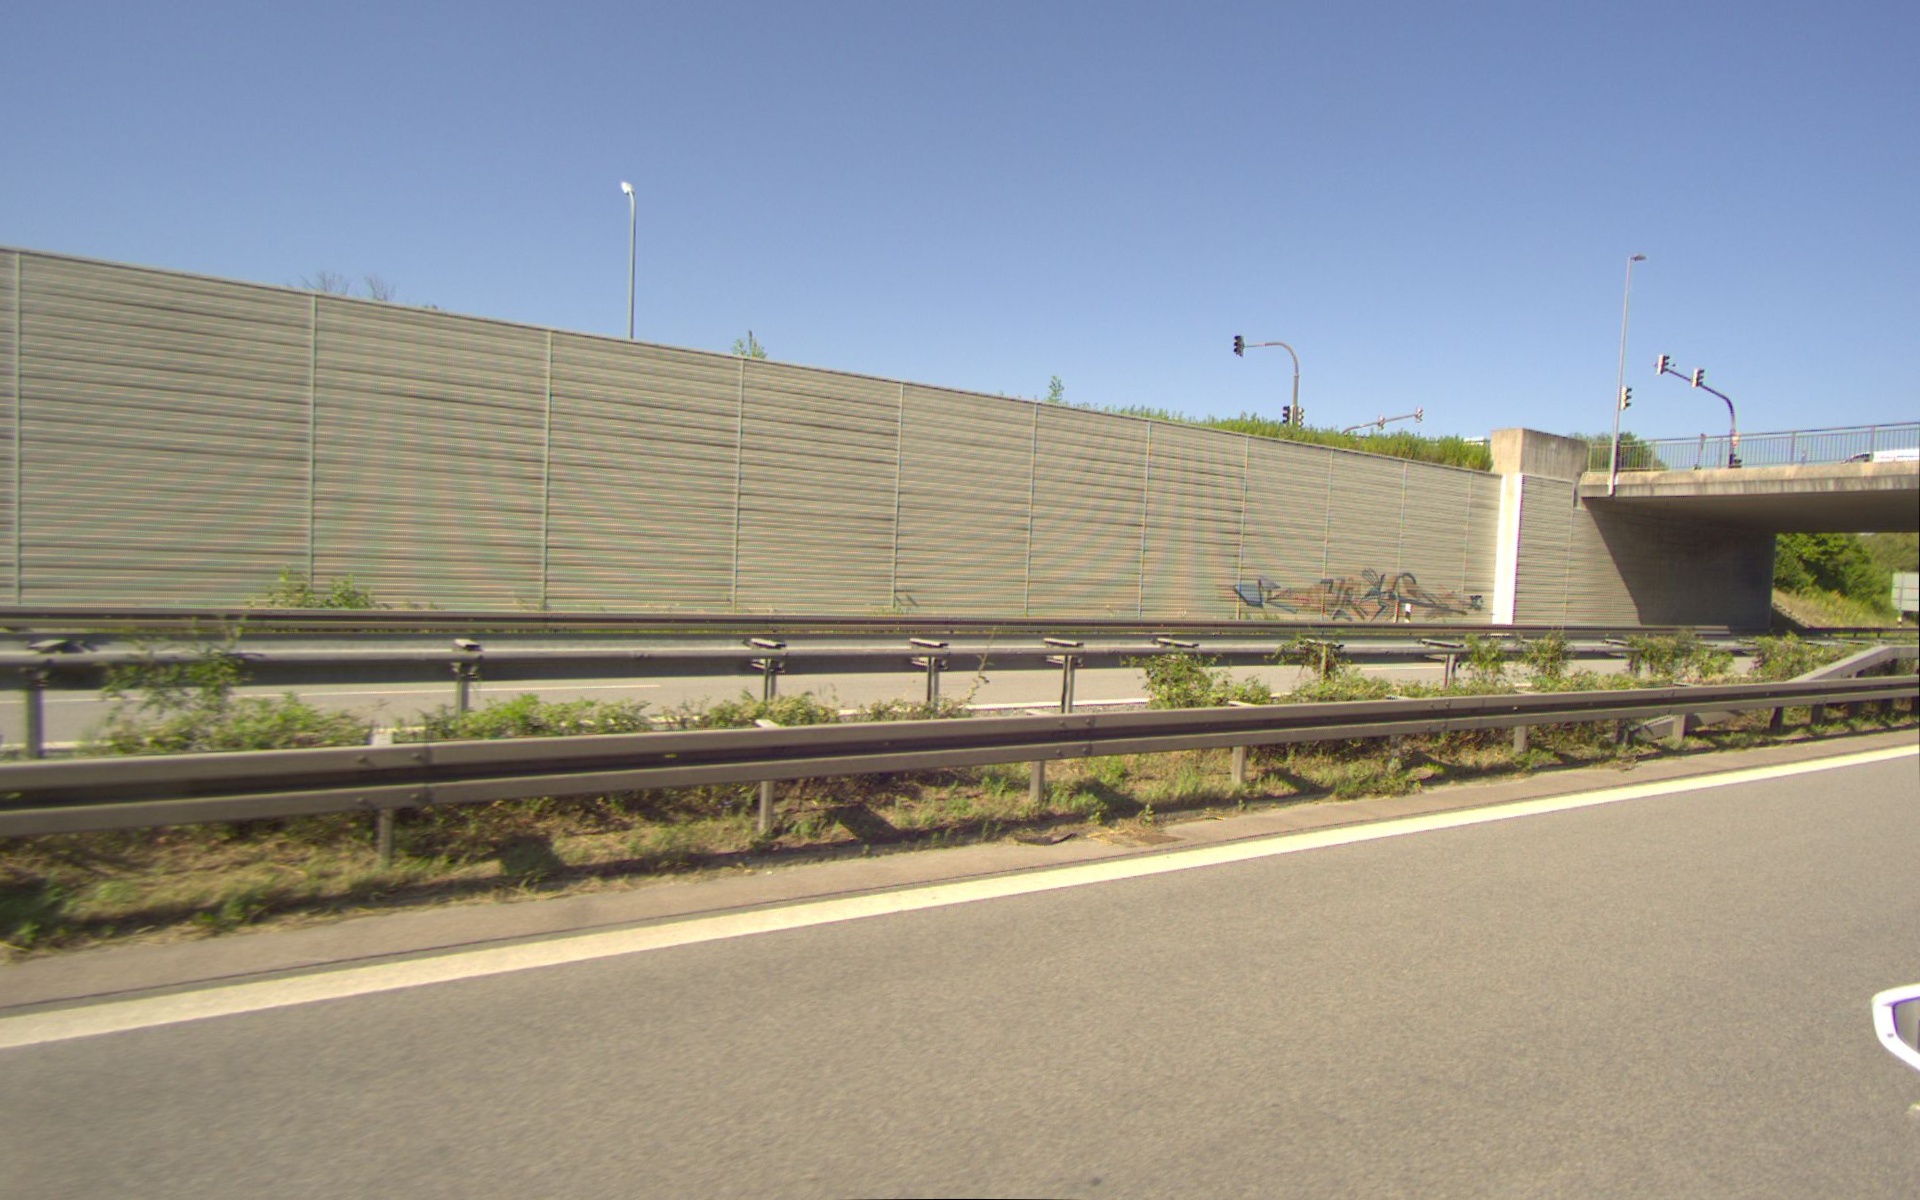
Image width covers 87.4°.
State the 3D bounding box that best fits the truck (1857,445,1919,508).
[{"bbox_3d":[38.751,-4.935,39.472,1.979,2.196,4.828,2,0,-33],"label":"truck"}]
